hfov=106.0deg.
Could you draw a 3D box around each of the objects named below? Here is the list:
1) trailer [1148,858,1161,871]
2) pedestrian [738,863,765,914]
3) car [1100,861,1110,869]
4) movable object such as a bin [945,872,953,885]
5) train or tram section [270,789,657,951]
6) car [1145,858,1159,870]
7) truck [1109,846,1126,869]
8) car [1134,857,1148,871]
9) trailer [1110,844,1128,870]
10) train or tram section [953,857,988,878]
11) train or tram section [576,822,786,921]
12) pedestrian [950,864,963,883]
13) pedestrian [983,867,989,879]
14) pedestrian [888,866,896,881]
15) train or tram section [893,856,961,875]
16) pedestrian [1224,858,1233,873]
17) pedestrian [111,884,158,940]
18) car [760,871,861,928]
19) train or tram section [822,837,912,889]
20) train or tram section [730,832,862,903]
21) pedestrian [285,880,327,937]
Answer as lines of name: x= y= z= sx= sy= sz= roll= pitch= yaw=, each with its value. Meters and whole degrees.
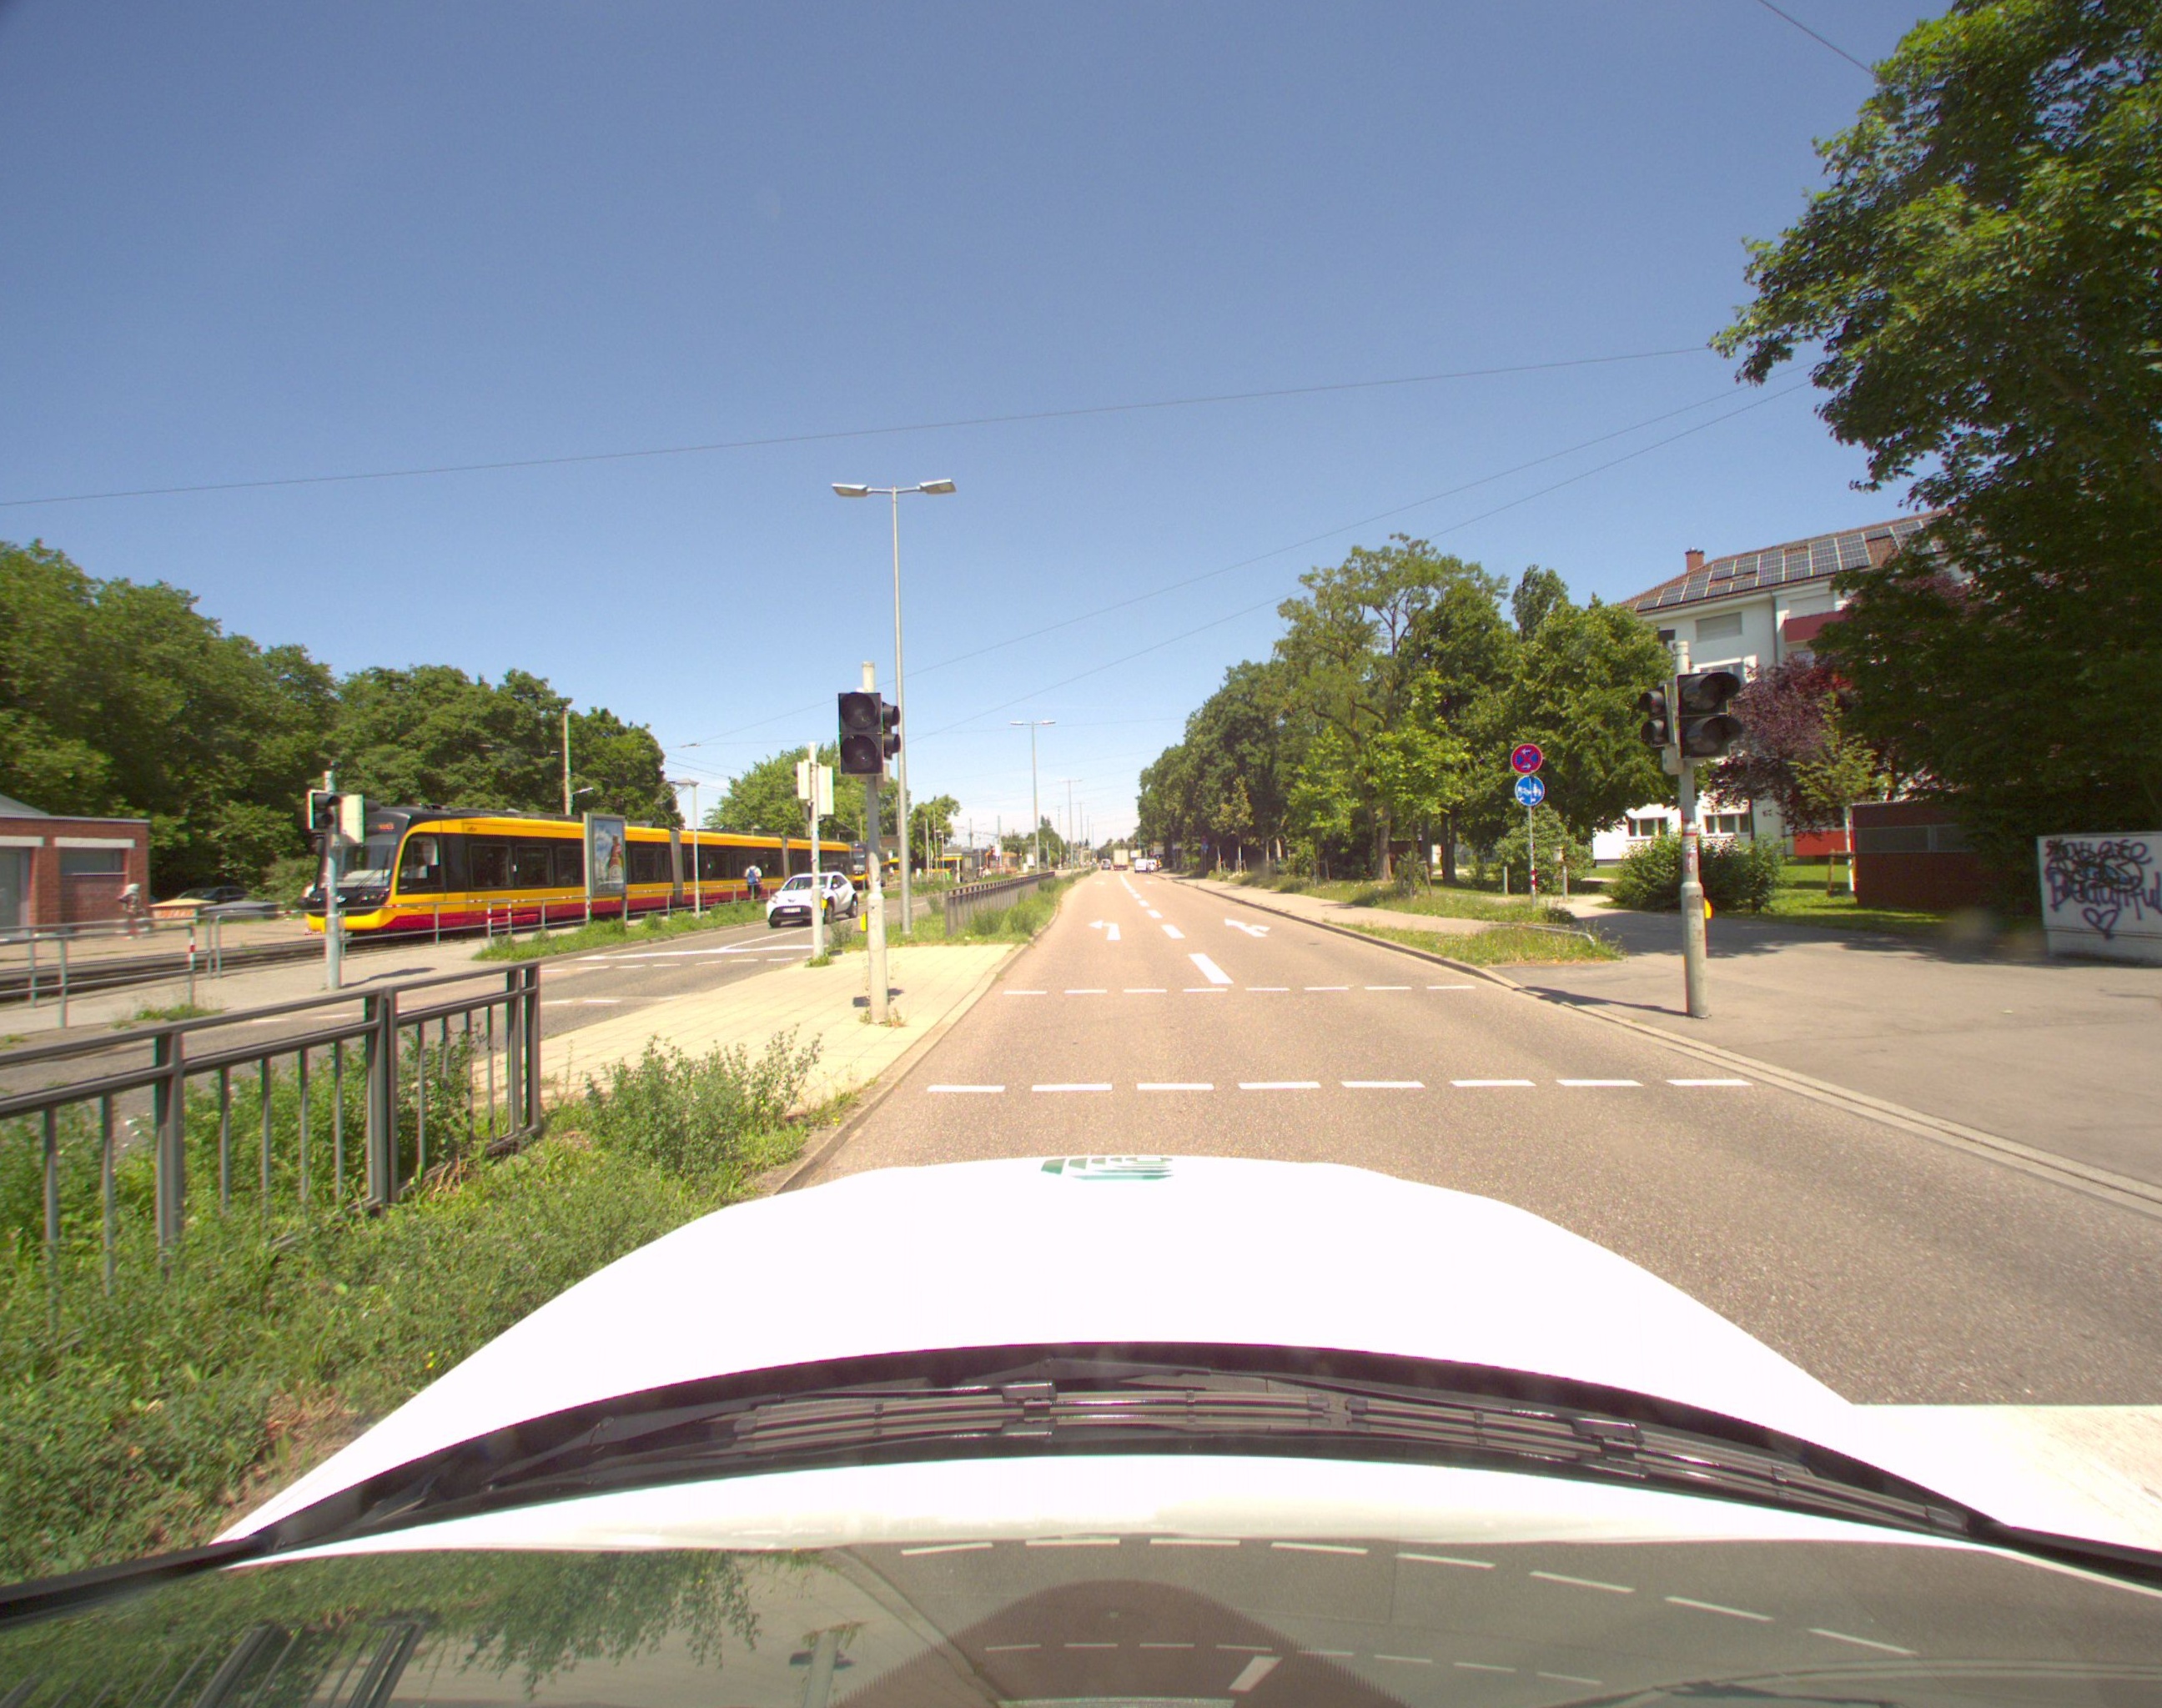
trailer: x=10.062 y=1.442 z=111.732 sx=1.464 sy=1.669 sz=2.856 roll=0 pitch=-1 yaw=0
pedestrian: x=-11.650 y=1.209 z=28.841 sx=0.630 sy=1.791 sz=0.776 roll=0 pitch=-1 yaw=0
car: x=4.648 y=2.112 z=157.976 sx=1.886 sy=1.372 sz=4.430 roll=1 pitch=-2 yaw=1
movable object such as a bin: x=-10.166 y=1.849 z=62.627 sx=0.480 sy=0.978 sz=0.644 roll=-2 pitch=-1 yaw=-3
train or tram section: x=-17.799 y=0.421 z=25.291 sx=2.939 sy=3.855 sz=11.544 roll=0 pitch=0 yaw=2
car: x=10.026 y=1.468 z=115.358 sx=1.694 sy=1.654 sz=4.398 roll=0 pitch=-1 yaw=1
truck: x=6.897 y=0.609 z=155.406 sx=2.817 sy=4.344 sz=8.284 roll=0 pitch=0 yaw=0
car: x=7.823 y=1.278 z=105.419 sx=1.701 sy=1.747 sz=4.433 roll=0 pitch=-1 yaw=5
trailer: x=6.838 y=0.567 z=146.878 sx=2.818 sy=4.422 sz=8.748 roll=0 pitch=-1 yaw=0
train or tram section: x=-19.389 y=2.281 z=142.030 sx=3.049 sy=3.466 sz=12.655 roll=0 pitch=-1 yaw=-22
train or tram section: x=-17.519 y=0.715 z=37.307 sx=3.032 sy=3.741 sz=12.599 roll=0 pitch=0 yaw=2
pedestrian: x=-10.617 y=1.648 z=69.380 sx=0.927 sy=1.546 sz=0.985 roll=0 pitch=-1 yaw=-1
pedestrian: x=-9.782 y=1.942 z=83.847 sx=0.578 sy=1.189 sz=0.536 roll=0 pitch=-1 yaw=1
pedestrian: x=-19.957 y=2.019 z=86.116 sx=0.802 sy=1.565 sz=0.534 roll=0 pitch=-1 yaw=-13
train or tram section: x=-28.641 y=2.097 z=150.908 sx=13.101 sy=3.466 sz=3.064 roll=-1 pitch=-1 yaw=25
pedestrian: x=13.208 y=1.025 z=72.809 sx=0.705 sy=1.398 sz=0.763 roll=0 pitch=-1 yaw=3
pedestrian: x=-25.833 y=1.569 z=22.226 sx=0.512 sy=1.483 sz=0.641 roll=-2 pitch=-1 yaw=1
car: x=-8.038 y=1.300 z=24.574 sx=1.763 sy=1.505 sz=3.719 roll=-2 pitch=-1 yaw=0
train or tram section: x=-16.401 y=0.667 z=63.745 sx=3.032 sy=3.624 sz=13.901 roll=0 pitch=0 yaw=1
train or tram section: x=-17.016 y=0.754 z=50.174 sx=3.032 sy=3.767 sz=13.268 roll=0 pitch=0 yaw=2
pedestrian: x=-21.500 y=1.504 z=22.595 sx=0.636 sy=1.554 sz=0.515 roll=-2 pitch=-1 yaw=1
